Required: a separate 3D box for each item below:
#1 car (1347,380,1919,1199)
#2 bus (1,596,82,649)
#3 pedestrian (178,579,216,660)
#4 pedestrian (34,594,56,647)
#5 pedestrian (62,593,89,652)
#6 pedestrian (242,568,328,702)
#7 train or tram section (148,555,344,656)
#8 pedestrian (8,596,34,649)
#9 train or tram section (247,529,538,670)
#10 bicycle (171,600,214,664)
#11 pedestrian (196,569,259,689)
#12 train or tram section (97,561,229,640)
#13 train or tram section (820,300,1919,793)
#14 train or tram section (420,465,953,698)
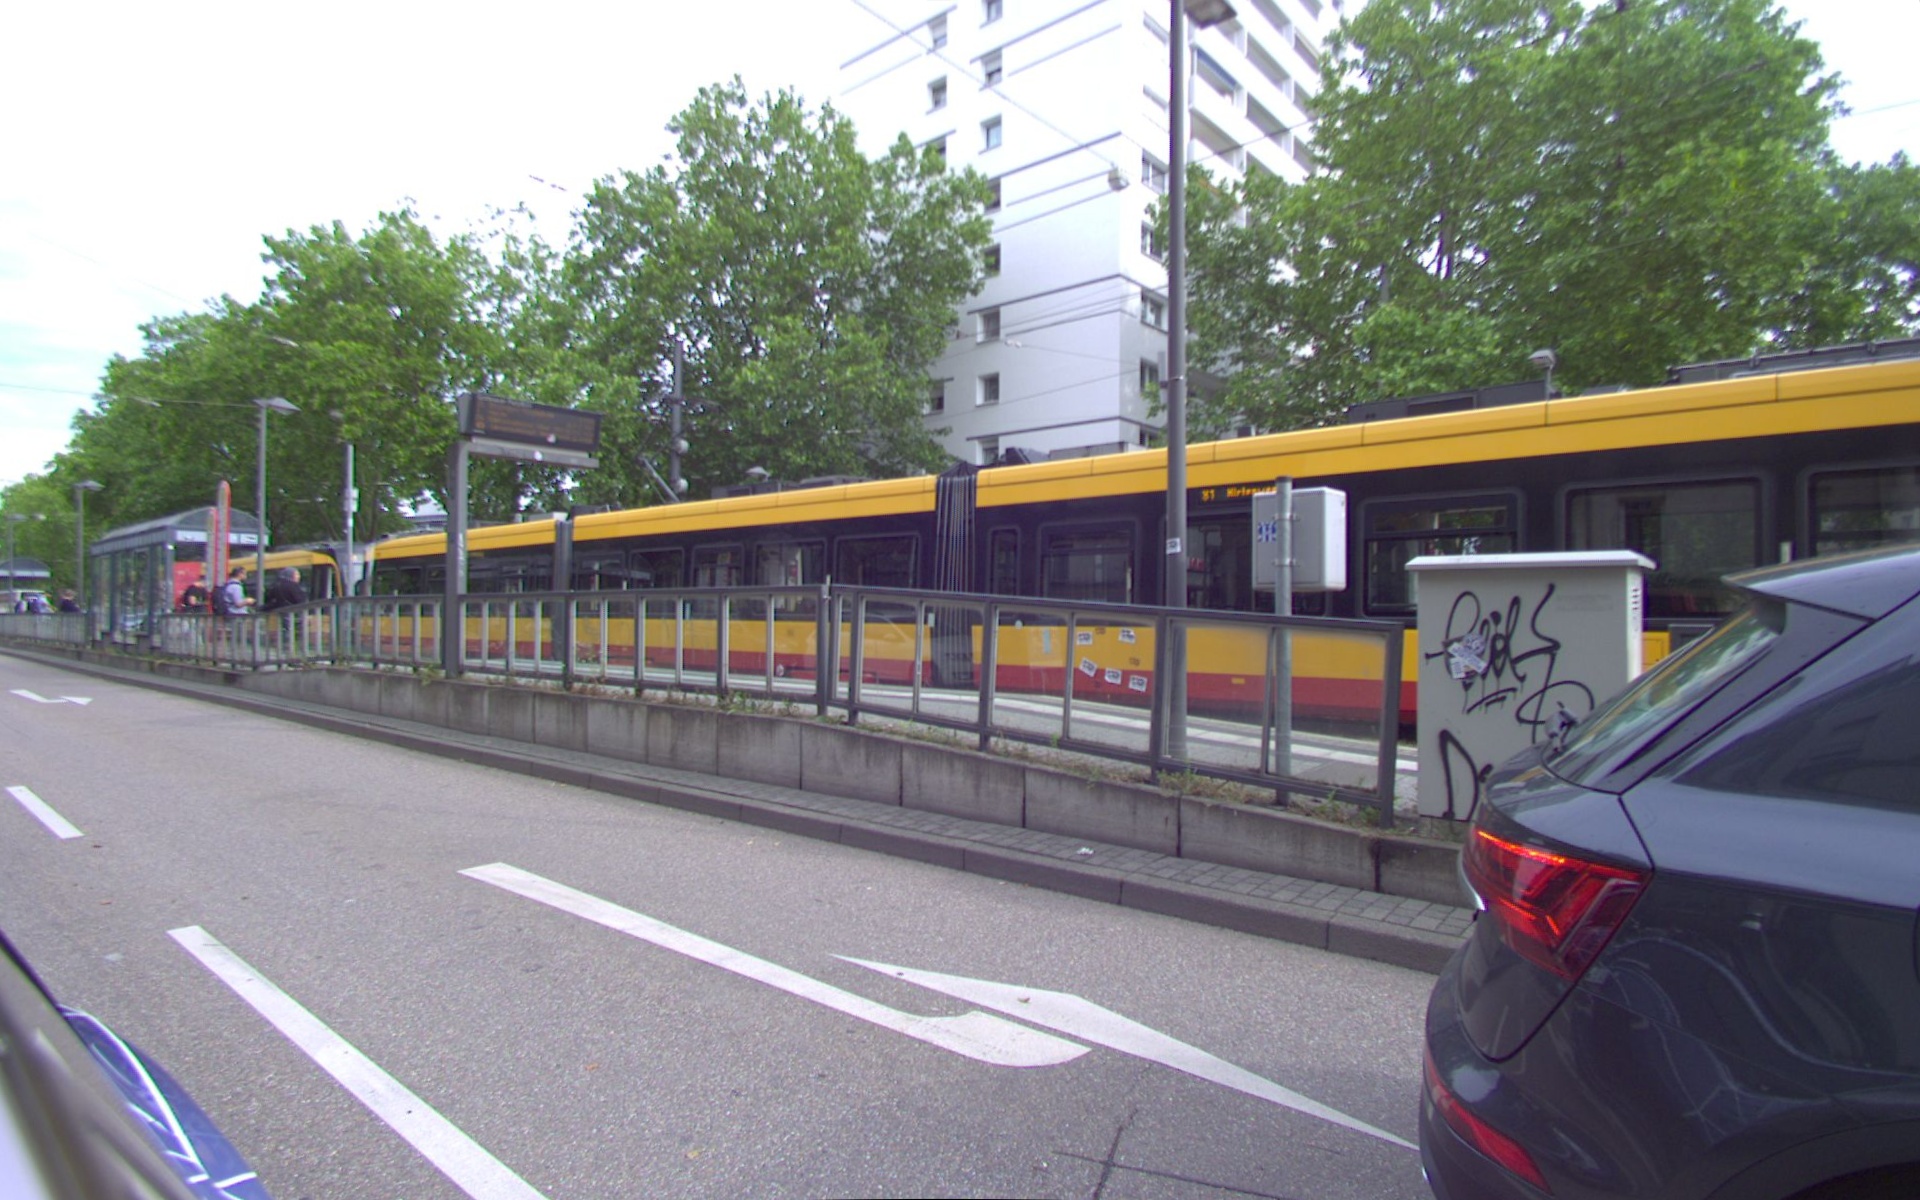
[{"bbox_3d":[2.869,0.540,0.909,4.354,1.613,1.861,-1,-1,40],"label":"car"},{"bbox_3d":[-37.156,0.880,40.932,3.998,2.029,1.973,-1,0,41],"label":"bus"},{"bbox_3d":[-15.797,0.402,20.946,0.471,1.645,0.526,-1,0,39],"label":"pedestrian"},{"bbox_3d":[-28.876,0.651,31.927,0.392,1.645,0.474,-1,0,42],"label":"pedestrian"},{"bbox_3d":[-25.257,0.634,28.893,0.730,1.645,0.506,-1,0,42],"label":"pedestrian"},{"bbox_3d":[-10.519,0.532,15.792,0.808,2.029,0.754,-1,0,4],"label":"pedestrian"},{"bbox_3d":[-30.022,0.243,41.990,15.764,3.558,3.028,0,0,41],"label":"train or tram section"},{"bbox_3d":[-36.511,0.873,39.349,0.587,2.029,0.668,-1,0,38],"label":"pedestrian"},{"bbox_3d":[-18.361,0.010,31.753,15.287,3.558,3.028,0,0,41],"label":"train or tram section"},{"bbox_3d":[-15.224,0.626,20.062,1.289,1.231,0.414,-1,0,41],"label":"bicycle"},{"bbox_3d":[-12.731,0.481,17.613,0.742,2.029,0.821,-1,0,-26],"label":"pedestrian"},{"bbox_3d":[-40.630,0.038,51.365,12.534,3.588,3.060,0,0,41],"label":"train or tram section"},{"bbox_3d":[4.816,-0.379,11.374,15.841,3.615,3.028,0,0,41],"label":"train or tram section"},{"bbox_3d":[-6.872,-0.251,21.642,15.287,3.558,3.028,0,0,41],"label":"train or tram section"}]
